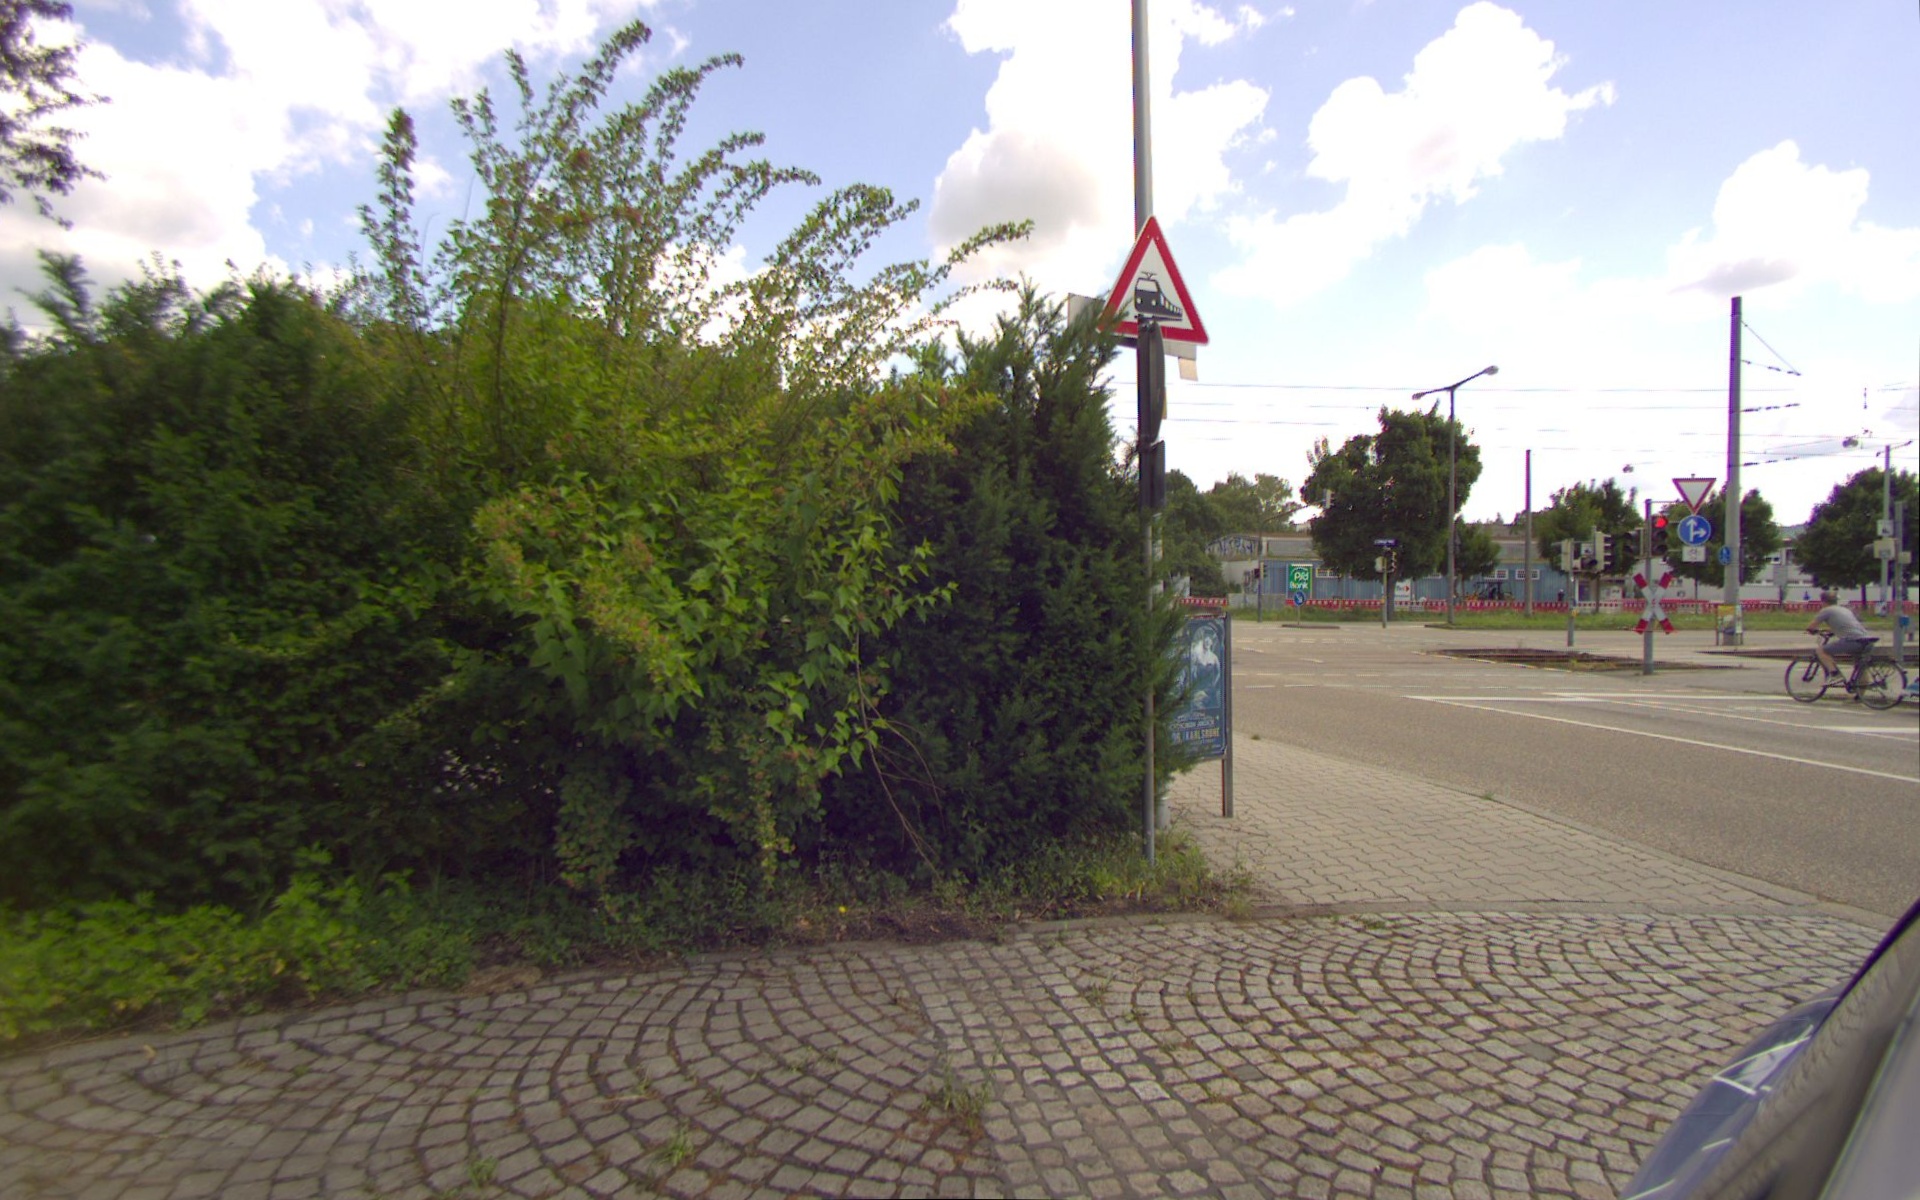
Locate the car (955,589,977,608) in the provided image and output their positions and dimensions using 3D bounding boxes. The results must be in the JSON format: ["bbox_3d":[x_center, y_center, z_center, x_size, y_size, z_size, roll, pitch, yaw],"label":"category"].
[{"bbox_3d":[0.505,-0.162,90.281,1.587,1.526,3.625,0,2,-6],"label":"car"}]

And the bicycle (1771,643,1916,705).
[{"bbox_3d":[13.037,1.074,15.004,0.544,0.774,1.729,0,1,-4],"label":"bicycle"}]

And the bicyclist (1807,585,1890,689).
[{"bbox_3d":[13.058,0.524,14.891,0.446,1.494,0.842,0,0,-4],"label":"bicyclist"}]

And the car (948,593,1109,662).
[{"bbox_3d":[1.531,0.598,23.607,1.578,1.483,3.695,0,-1,-43],"label":"car"}]

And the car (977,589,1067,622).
[{"bbox_3d":[3.000,0.257,49.441,4.089,1.522,2.003,0,1,-6],"label":"car"}]

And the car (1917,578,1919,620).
[{"bbox_3d":[49.292,-0.060,48.711,4.735,2.039,2.002,0,0,-5],"label":"car"}]

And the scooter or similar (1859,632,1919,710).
[{"bbox_3d":[13.096,0.950,13.377,0.943,0.992,1.581,0,0,-4],"label":"scooter or similar"}]
